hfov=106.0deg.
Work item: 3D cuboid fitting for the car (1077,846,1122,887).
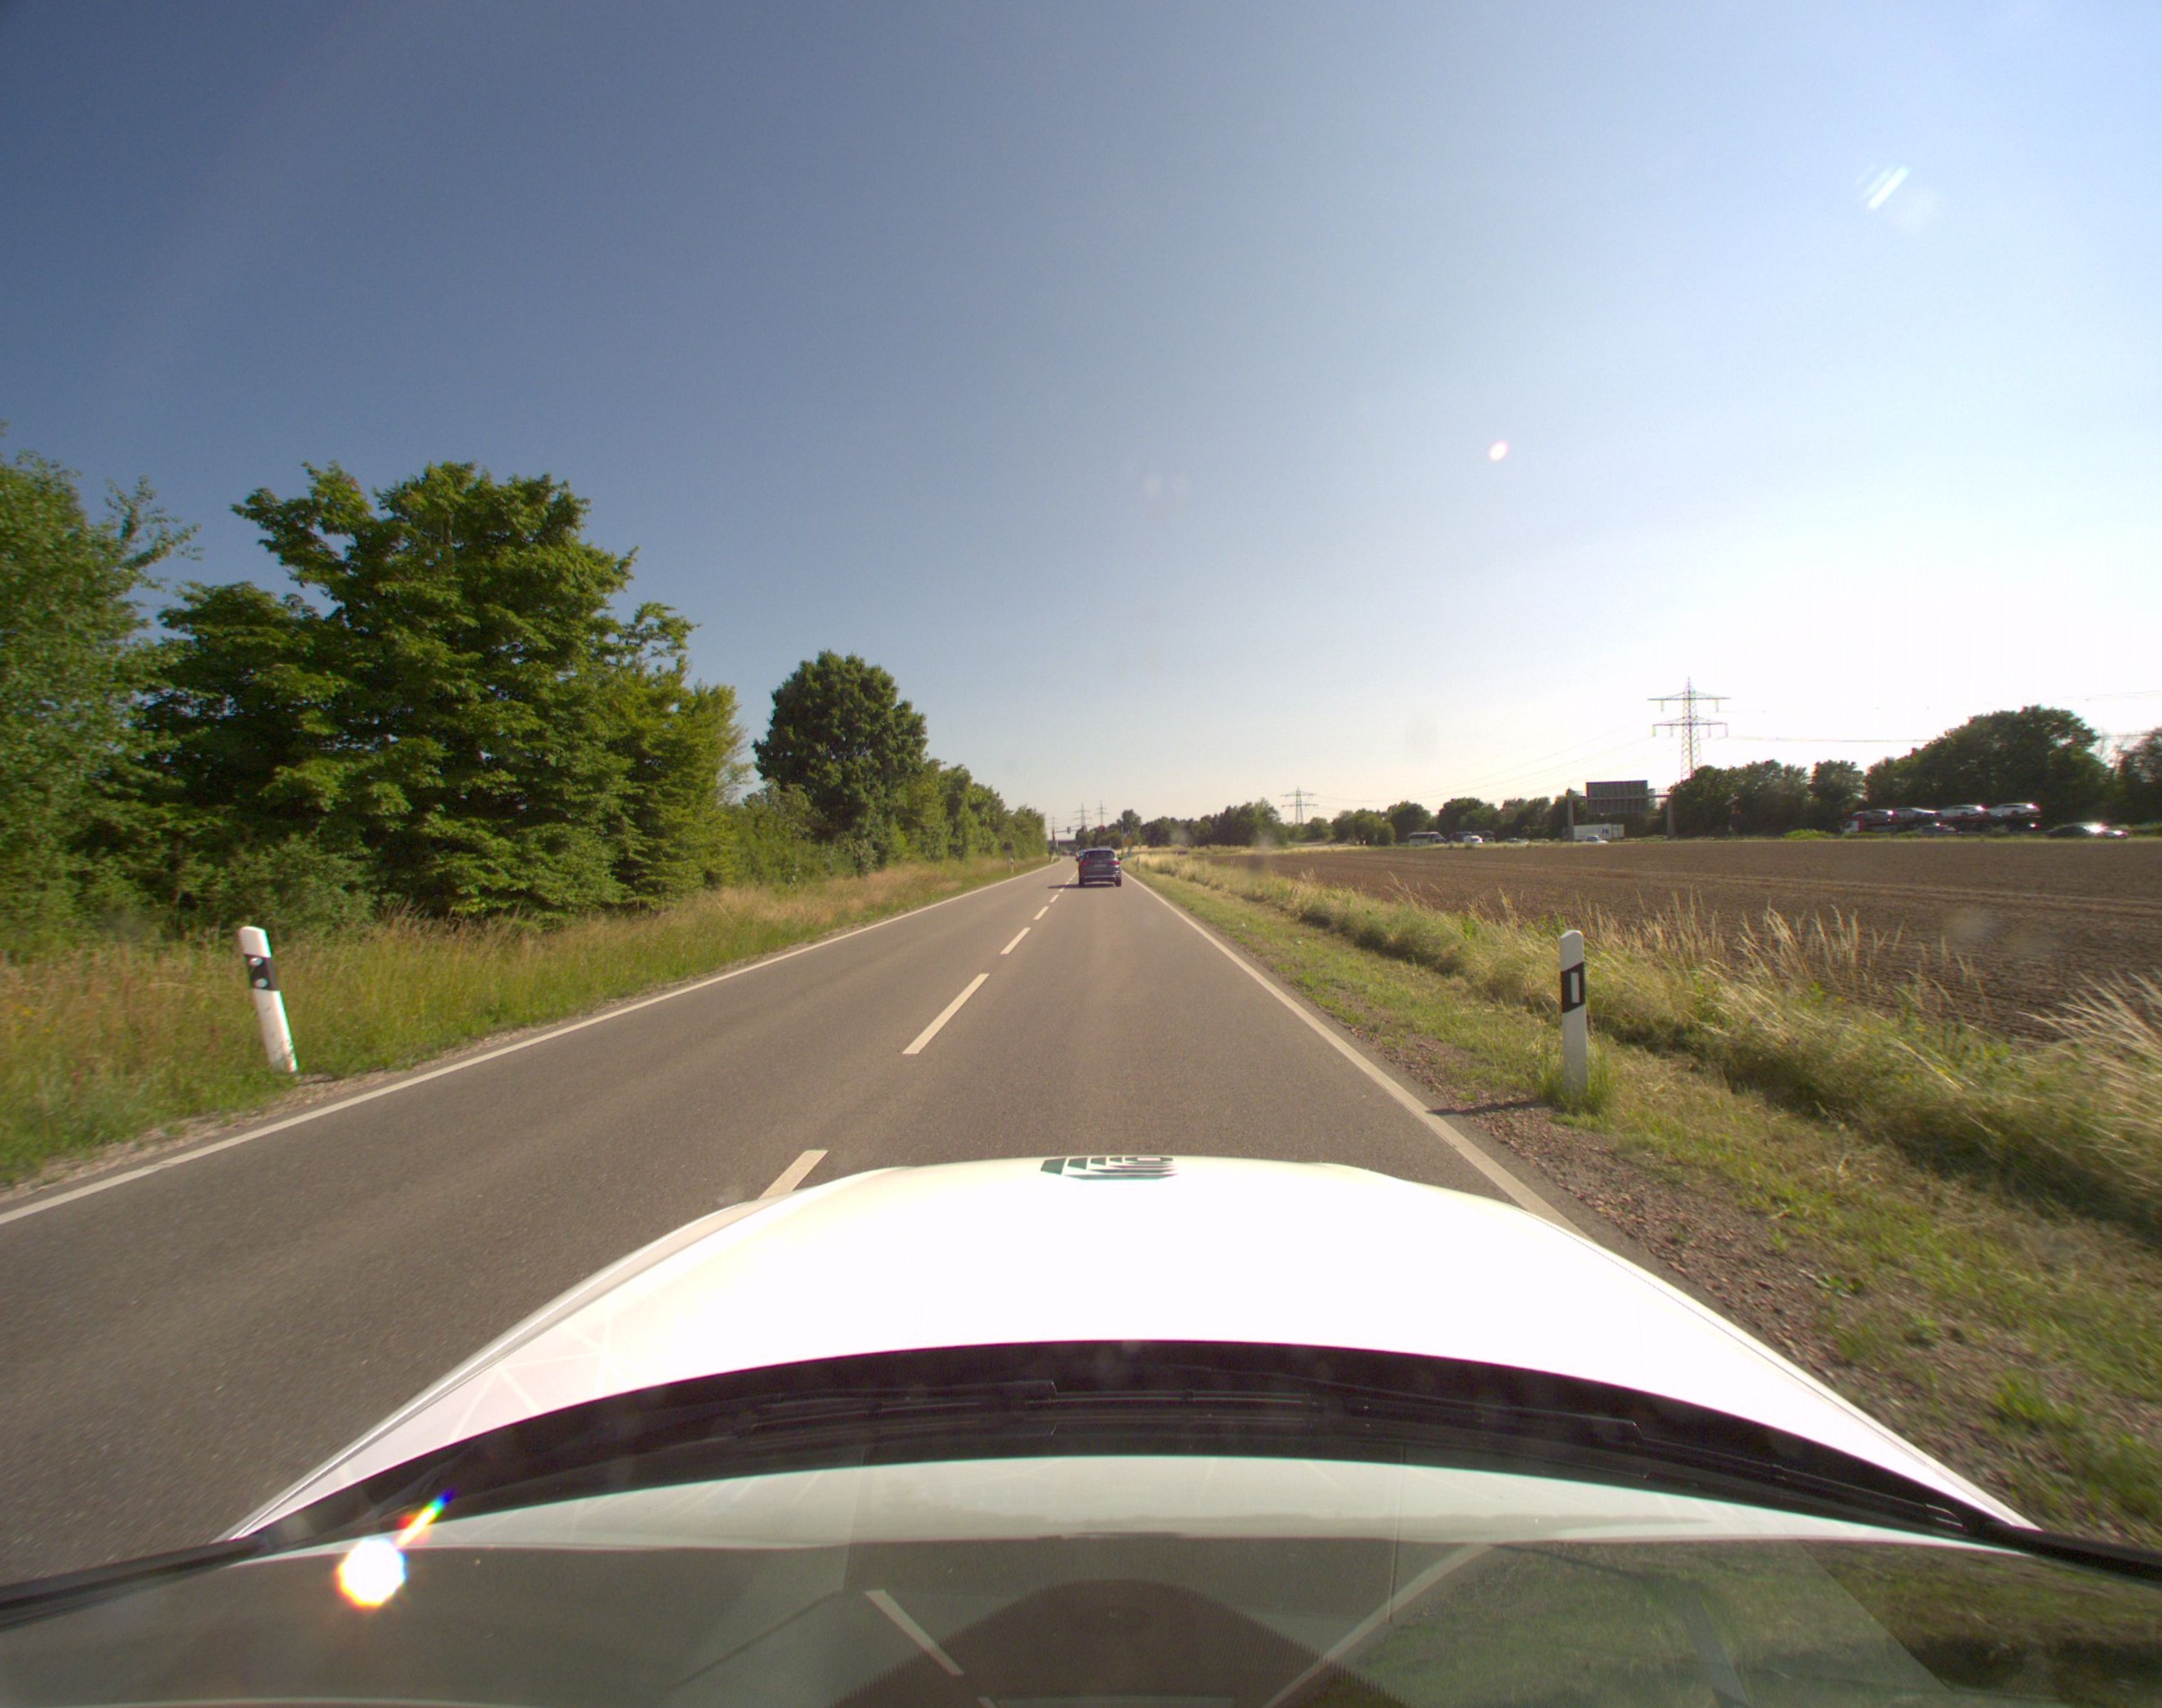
[{"bbox_3d":[0.775,0.478,34.961,1.779,1.629,4.001,-2,0,1],"label":"car"}]

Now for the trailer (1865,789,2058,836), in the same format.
[{"bbox_3d":[102.943,-4.649,96.179,3.411,4.452,17.557,-2,0,-1],"label":"trailer"}]

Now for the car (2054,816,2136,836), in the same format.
[{"bbox_3d":[84.092,-2.318,67.616,1.697,1.543,4.197,0,0,1],"label":"car"}]

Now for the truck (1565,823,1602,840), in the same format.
[{"bbox_3d":[103.576,-4.635,167.920,3.274,3.267,6.978,-2,0,0],"label":"truck"}]

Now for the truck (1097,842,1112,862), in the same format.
[{"bbox_3d":[3.728,-0.278,129.933,2.328,3.066,5.812,-1,0,2],"label":"truck"}]

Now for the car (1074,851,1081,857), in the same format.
[{"bbox_3d":[-0.875,0.048,199.159,1.680,1.380,3.530,-1,0,-2],"label":"car"}]

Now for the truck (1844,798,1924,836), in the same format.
[{"bbox_3d":[102.825,-4.642,104.470,3.411,4.452,6.703,-2,0,-1],"label":"truck"}]

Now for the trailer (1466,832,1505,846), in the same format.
[{"bbox_3d":[102.532,-3.720,206.811,3.274,3.267,13.452,-2,1,0],"label":"trailer"}]

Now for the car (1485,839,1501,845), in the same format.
[{"bbox_3d":[96.913,-2.914,191.599,1.844,1.385,4.248,0,1,1],"label":"car"}]

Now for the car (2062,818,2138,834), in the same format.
[{"bbox_3d":[95.674,-2.651,76.522,1.844,1.385,4.248,0,1,1],"label":"car"}]

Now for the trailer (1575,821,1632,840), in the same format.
[{"bbox_3d":[103.608,-4.636,161.893,3.274,3.267,12.454,-2,0,0],"label":"trailer"}]

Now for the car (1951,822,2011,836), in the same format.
[{"bbox_3d":[96.744,-2.685,87.642,1.844,1.385,4.248,0,1,1],"label":"car"}]

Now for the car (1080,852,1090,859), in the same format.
[{"bbox_3d":[0.861,0.270,179.259,1.812,1.540,3.996,-2,0,-3],"label":"car"}]
